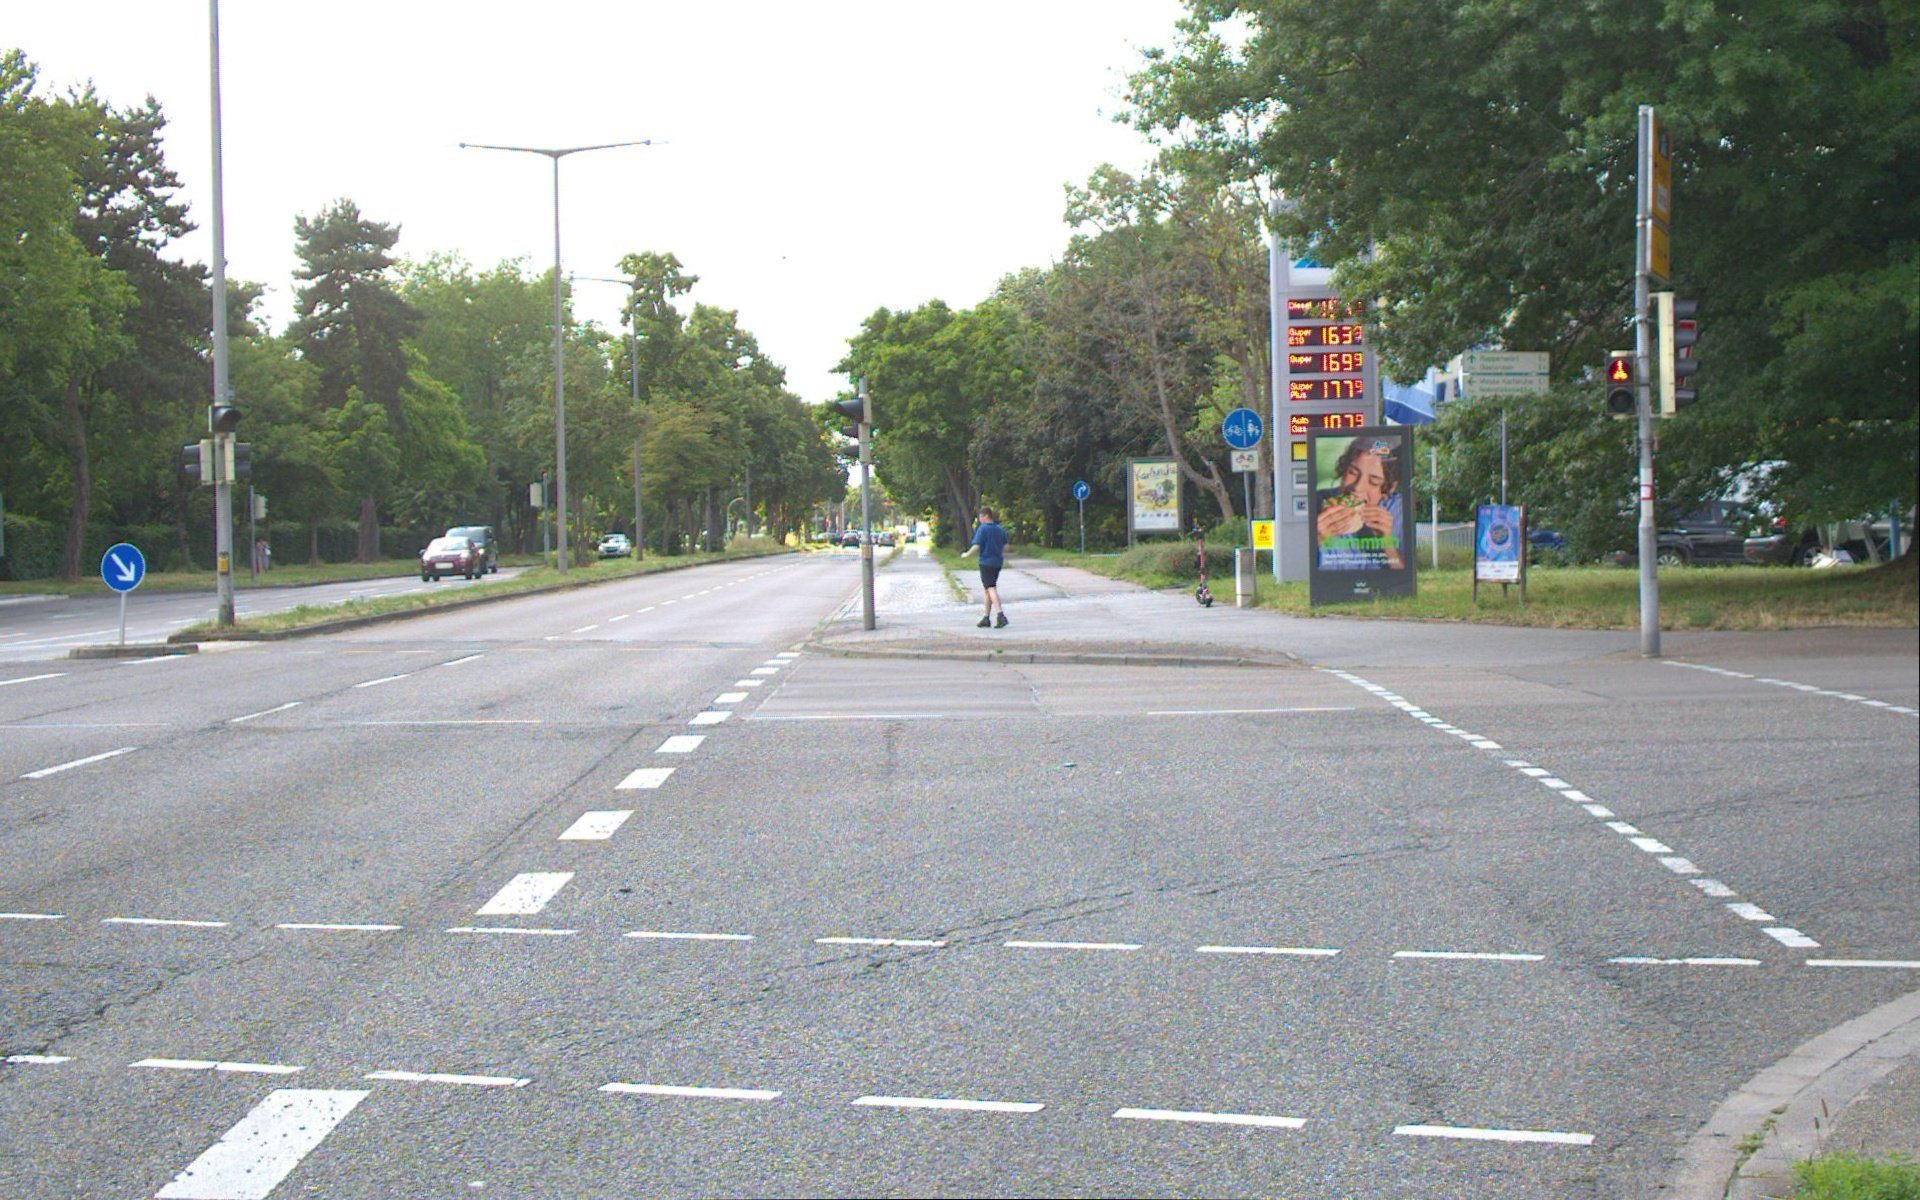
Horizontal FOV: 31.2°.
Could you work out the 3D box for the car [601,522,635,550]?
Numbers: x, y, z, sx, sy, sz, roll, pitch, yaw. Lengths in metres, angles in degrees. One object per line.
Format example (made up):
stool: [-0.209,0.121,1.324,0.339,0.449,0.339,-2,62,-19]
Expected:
car: [-21.969,-4.131,221.061,1.860,1.699,4.456,-1,1,-2]

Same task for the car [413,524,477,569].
car: [-17.843,-1.865,119.189,1.771,1.460,4.456,-2,1,-3]

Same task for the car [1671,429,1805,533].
car: [19.150,-2.891,84.909,1.750,2.445,5.751,-1,1,-2]

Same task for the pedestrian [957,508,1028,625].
pedestrian: [0.429,-0.452,46.052,0.725,1.526,0.760,-2,1,-17]

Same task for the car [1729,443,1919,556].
car: [15.911,-1.723,58.215,5.179,1.820,2.154,-2,1,-11]

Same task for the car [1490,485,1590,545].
car: [14.793,-2.156,87.850,1.750,1.449,3.741,-1,1,-2]

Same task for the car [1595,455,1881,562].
car: [15.615,-1.831,69.148,5.180,1.997,2.154,-1,1,-4]

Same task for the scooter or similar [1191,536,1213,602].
scooter or similar: [3.653,-0.479,51.959,0.221,0.976,1.272,-1,1,0]
